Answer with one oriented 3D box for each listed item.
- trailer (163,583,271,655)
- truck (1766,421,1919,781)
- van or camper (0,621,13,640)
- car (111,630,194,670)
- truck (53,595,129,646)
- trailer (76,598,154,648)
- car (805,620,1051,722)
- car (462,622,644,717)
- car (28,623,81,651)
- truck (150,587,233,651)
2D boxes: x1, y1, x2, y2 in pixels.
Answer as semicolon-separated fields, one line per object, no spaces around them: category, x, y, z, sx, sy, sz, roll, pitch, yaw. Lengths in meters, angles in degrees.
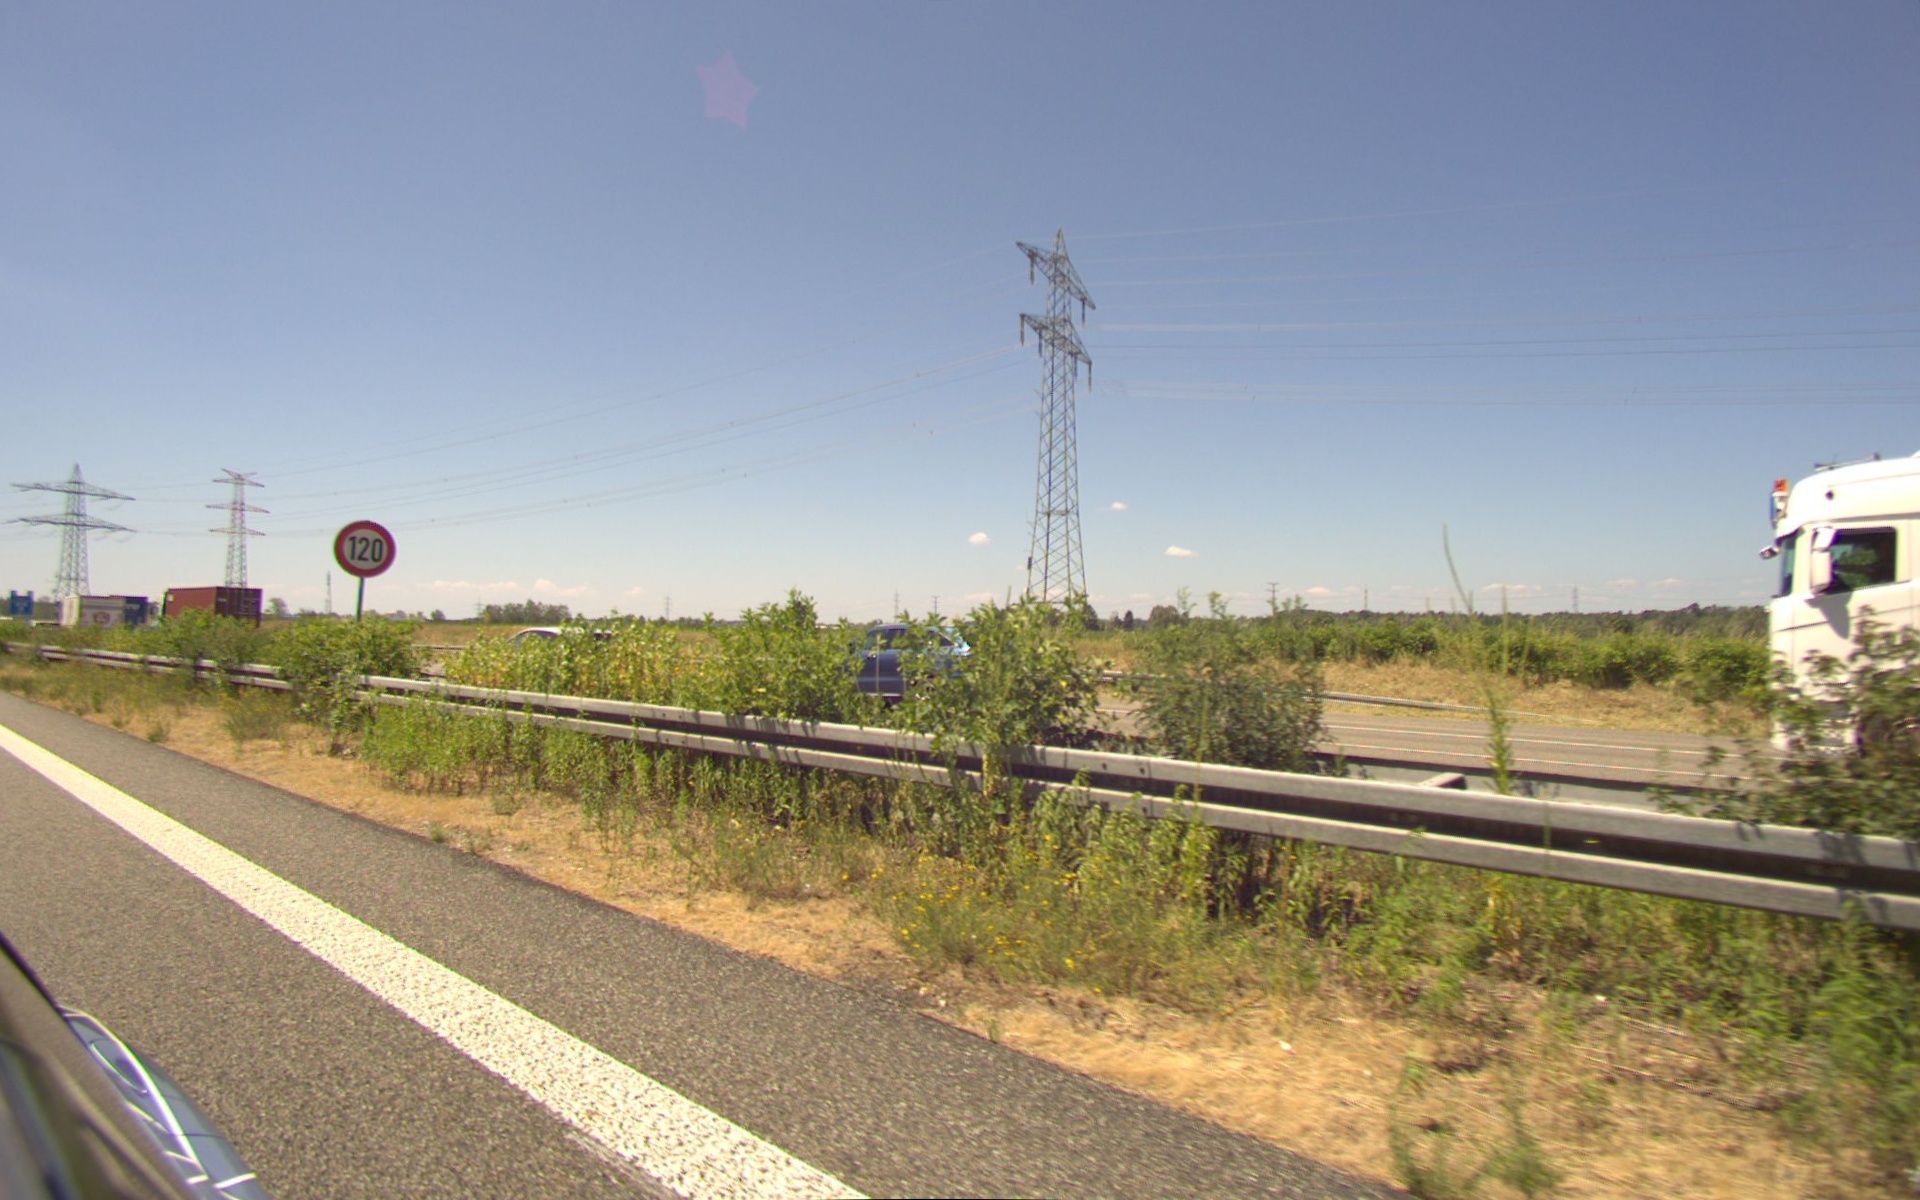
trailer;-48.544;1.228;65.908;12.265;4.339;3.160;-1;0;41
truck;12.981;0.014;11.531;5.798;4.100;2.668;-1;-2;41
van or camper;-129.936;4.168;136.550;6.479;2.537;2.418;-1;-3;41
car;-31.745;1.921;39.760;4.198;1.497;1.734;-1;-3;40
truck;-62.753;1.507;72.983;9.364;3.439;2.905;-1;-3;42
trailer;-73.299;2.012;87.606;14.134;4.008;2.820;-1;-3;41
car;-0.691;1.203;18.525;4.606;1.645;1.734;-1;-2;42
car;-7.520;1.249;18.559;3.681;1.502;1.456;-1;-9;41
car;-55.464;2.244;61.954;4.583;1.680;1.816;-1;-2;40
truck;-53.220;1.352;70.008;6.434;4.190;3.180;-1;-3;40
